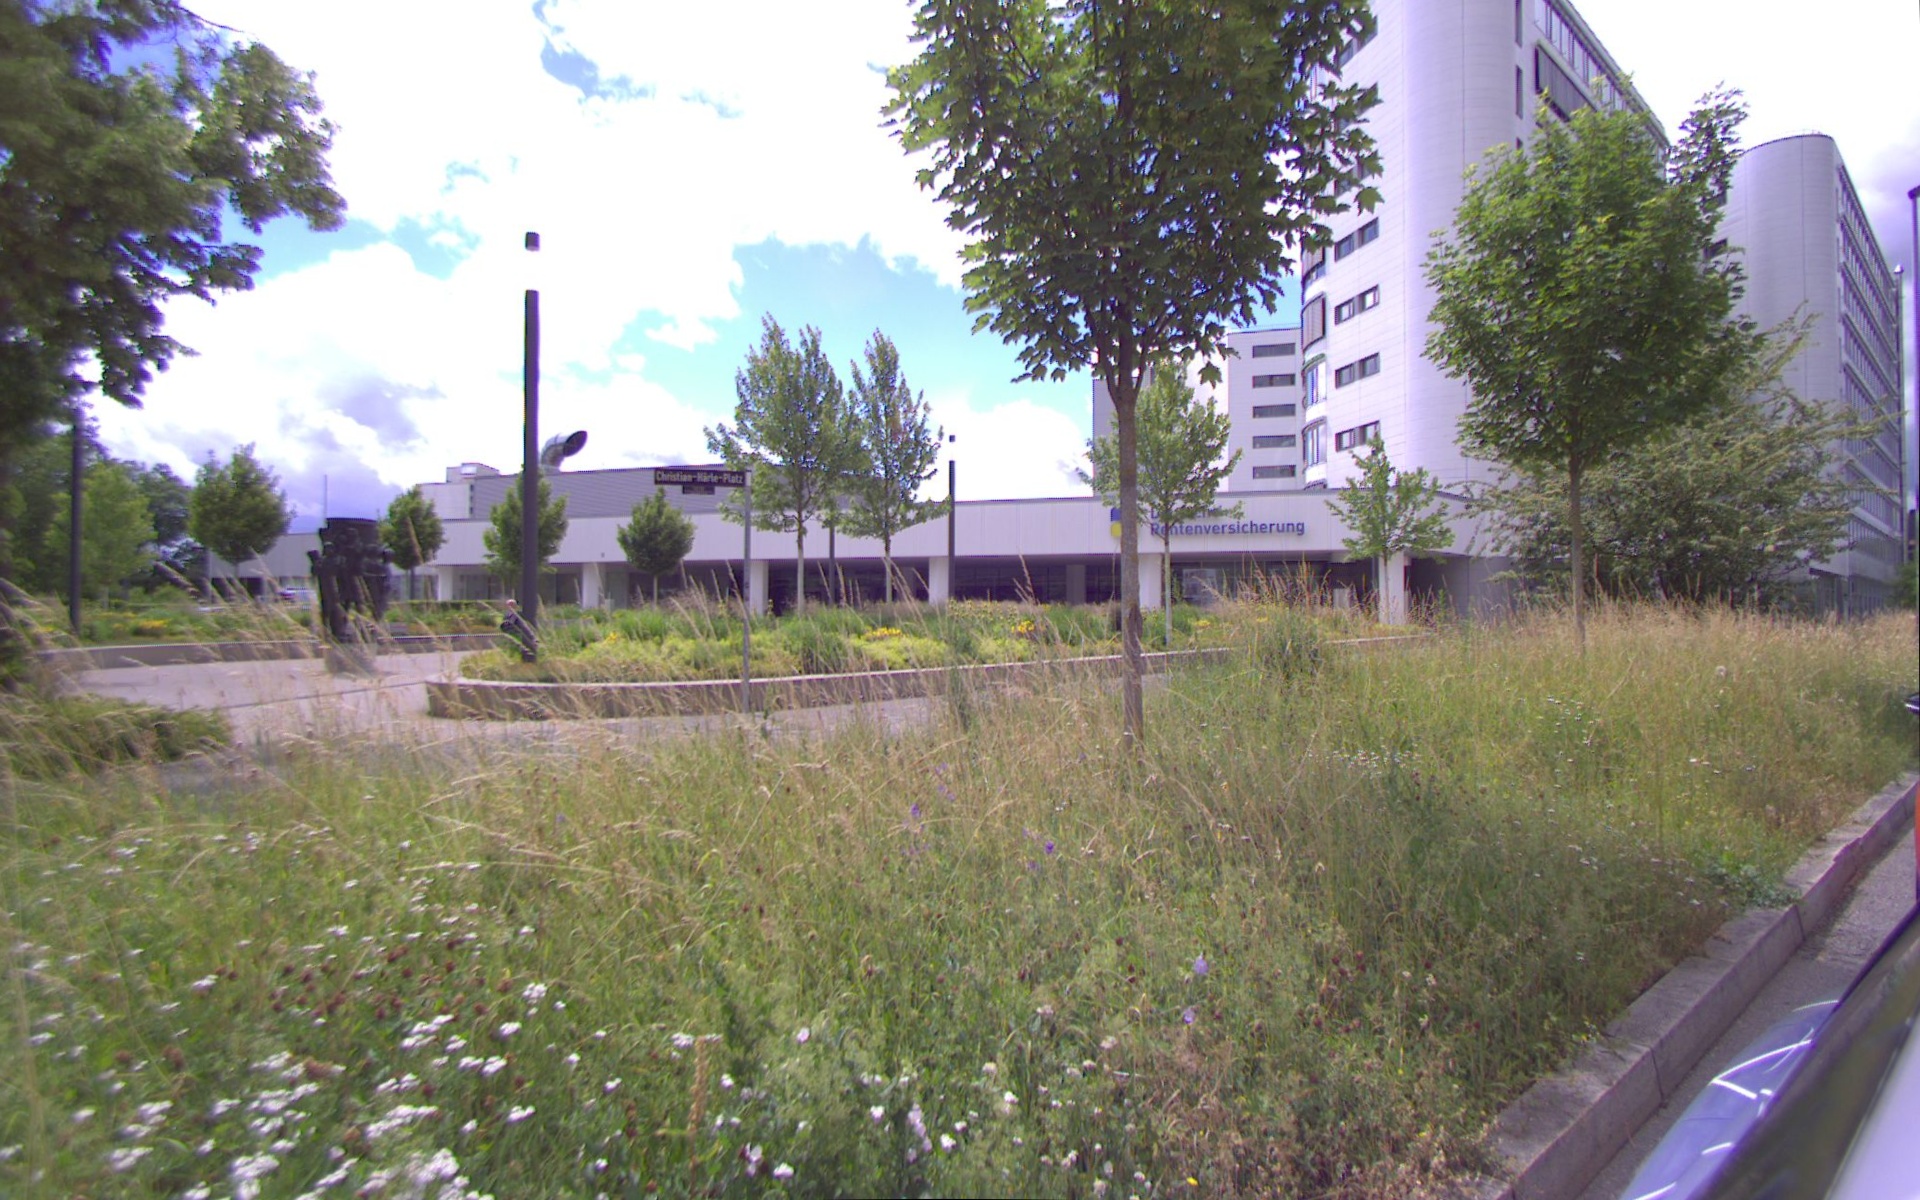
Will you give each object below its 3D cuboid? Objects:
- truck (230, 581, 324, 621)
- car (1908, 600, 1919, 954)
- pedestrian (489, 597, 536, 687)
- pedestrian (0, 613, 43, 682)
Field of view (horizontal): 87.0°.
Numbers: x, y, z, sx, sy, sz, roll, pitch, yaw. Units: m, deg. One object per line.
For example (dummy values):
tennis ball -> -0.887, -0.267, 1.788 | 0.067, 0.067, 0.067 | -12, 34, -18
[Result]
truck -> -36.144, 0.056, 53.569 | 3.941, 2.039, 1.991 | 1, 0, 14
car -> 5.806, 0.749, 4.630 | 3.611, 1.434, 1.748 | 0, 1, -41
pedestrian -> -8.505, 0.780, 19.261 | 0.756, 1.646, 0.766 | 0, 0, -19
pedestrian -> -17.401, 0.857, 18.688 | 0.621, 1.238, 0.620 | 1, 0, -36
